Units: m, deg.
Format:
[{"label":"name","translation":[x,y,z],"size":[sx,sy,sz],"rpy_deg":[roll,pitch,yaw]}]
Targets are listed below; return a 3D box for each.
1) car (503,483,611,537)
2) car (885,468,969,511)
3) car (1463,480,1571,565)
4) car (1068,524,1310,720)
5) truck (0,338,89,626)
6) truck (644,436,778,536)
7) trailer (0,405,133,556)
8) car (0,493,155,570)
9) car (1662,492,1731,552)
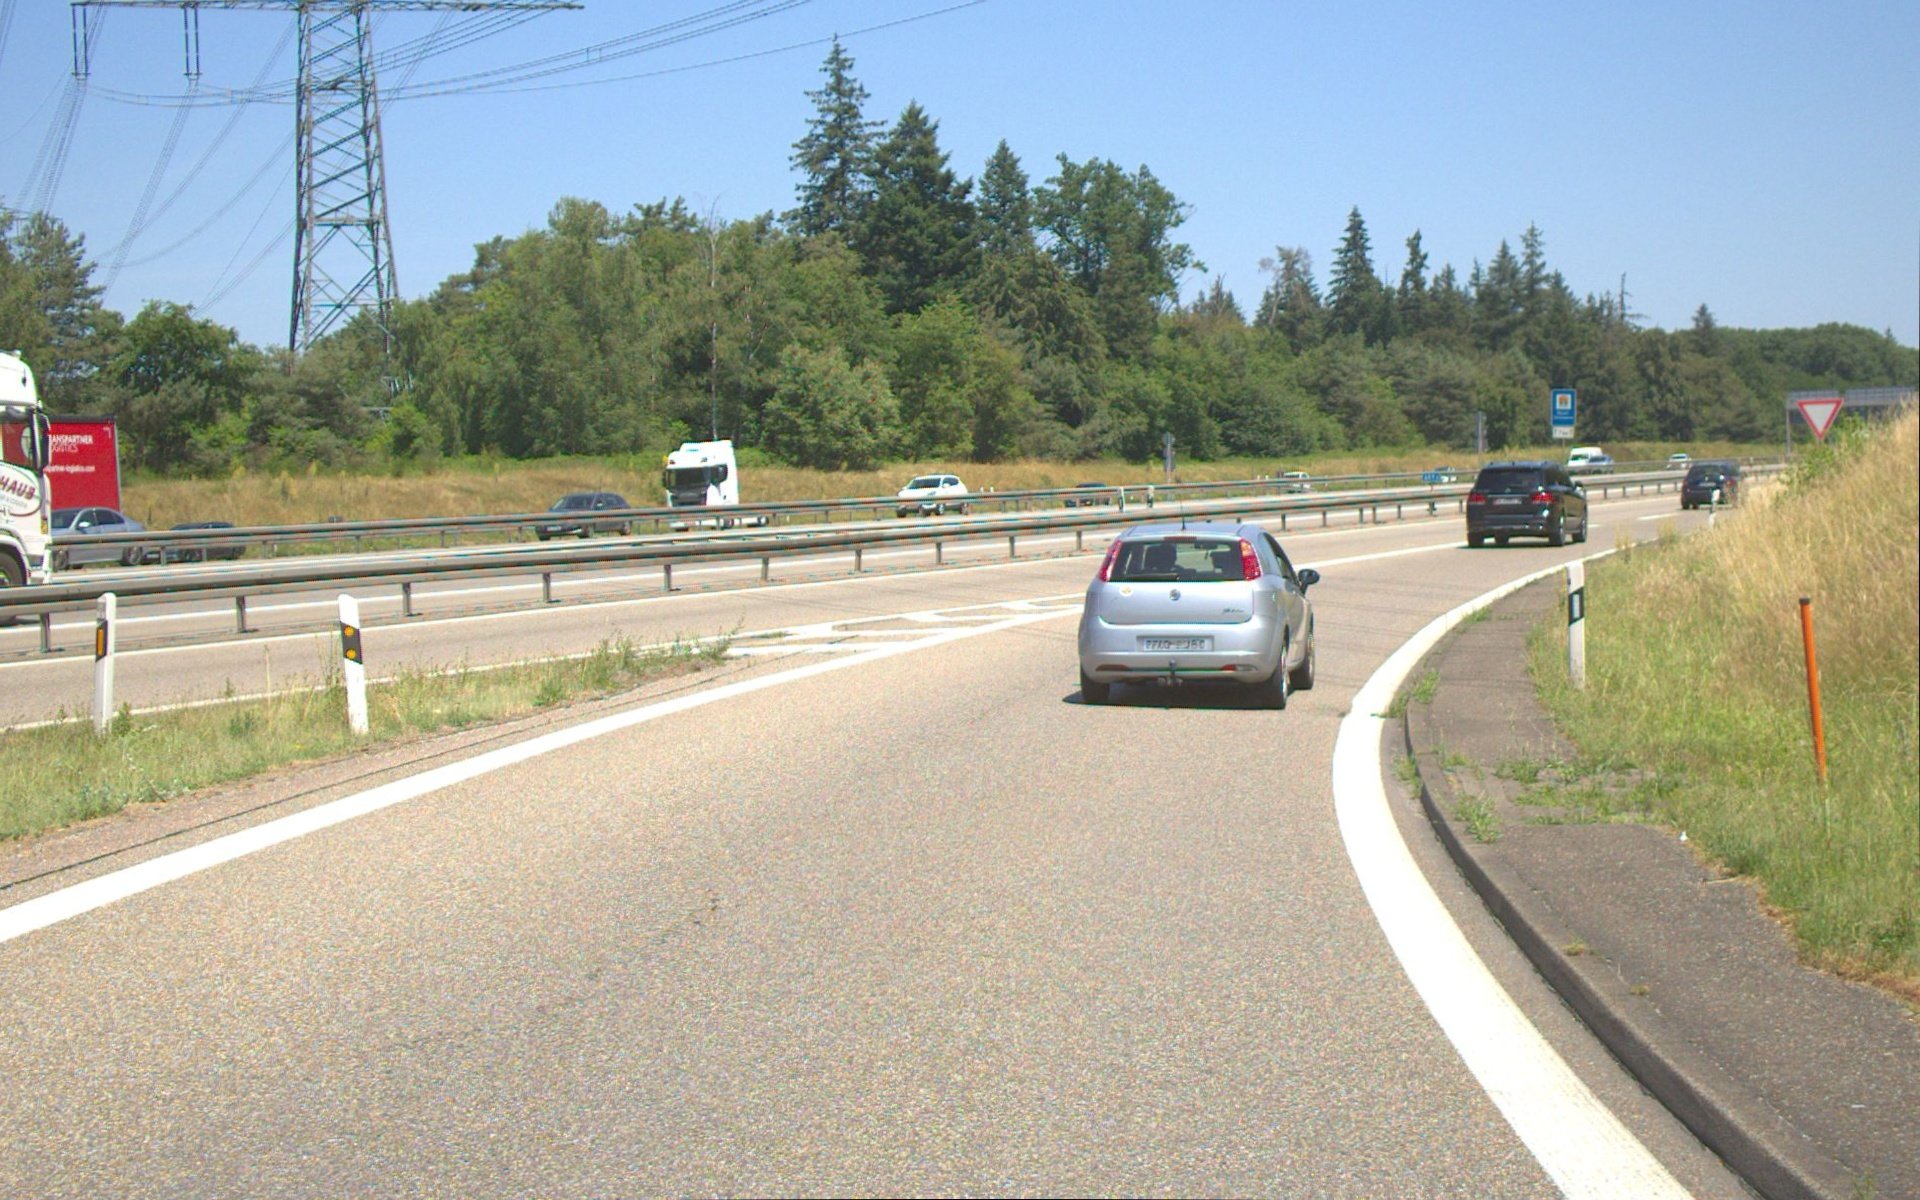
[{"label":"car","translation":[-12.872,-2.862,109.869],"size":[1.774,1.678,3.685],"rpy_deg":[-1,1,24]},{"label":"car","translation":[-1.308,-4.464,139.420],"size":[1.773,1.678,4.820],"rpy_deg":[-1,1,21]},{"label":"car","translation":[11.480,-1.589,70.715],"size":[1.708,1.670,3.395],"rpy_deg":[-1,1,17]},{"label":"car","translation":[1.965,0.130,28.724],"size":[1.707,1.476,3.397],"rpy_deg":[1,2,9]},{"label":"truck","translation":[-14.108,-1.535,45.515],"size":[2.759,3.794,4.617],"rpy_deg":[0,2,20]},{"label":"truck","translation":[-11.121,-5.081,154.492],"size":[2.863,4.330,7.522],"rpy_deg":[-1,1,22]},{"label":"trailer","translation":[-25.886,-2.910,85.839],"size":[2.544,3.784,13.727],"rpy_deg":[-1,3,22]},{"label":"car","translation":[-20.482,-1.554,77.977],"size":[1.774,1.678,4.819],"rpy_deg":[-1,1,24]},{"label":"car","translation":[23.062,-2.459,107.518],"size":[1.883,1.678,3.998],"rpy_deg":[-4,1,14]}]
